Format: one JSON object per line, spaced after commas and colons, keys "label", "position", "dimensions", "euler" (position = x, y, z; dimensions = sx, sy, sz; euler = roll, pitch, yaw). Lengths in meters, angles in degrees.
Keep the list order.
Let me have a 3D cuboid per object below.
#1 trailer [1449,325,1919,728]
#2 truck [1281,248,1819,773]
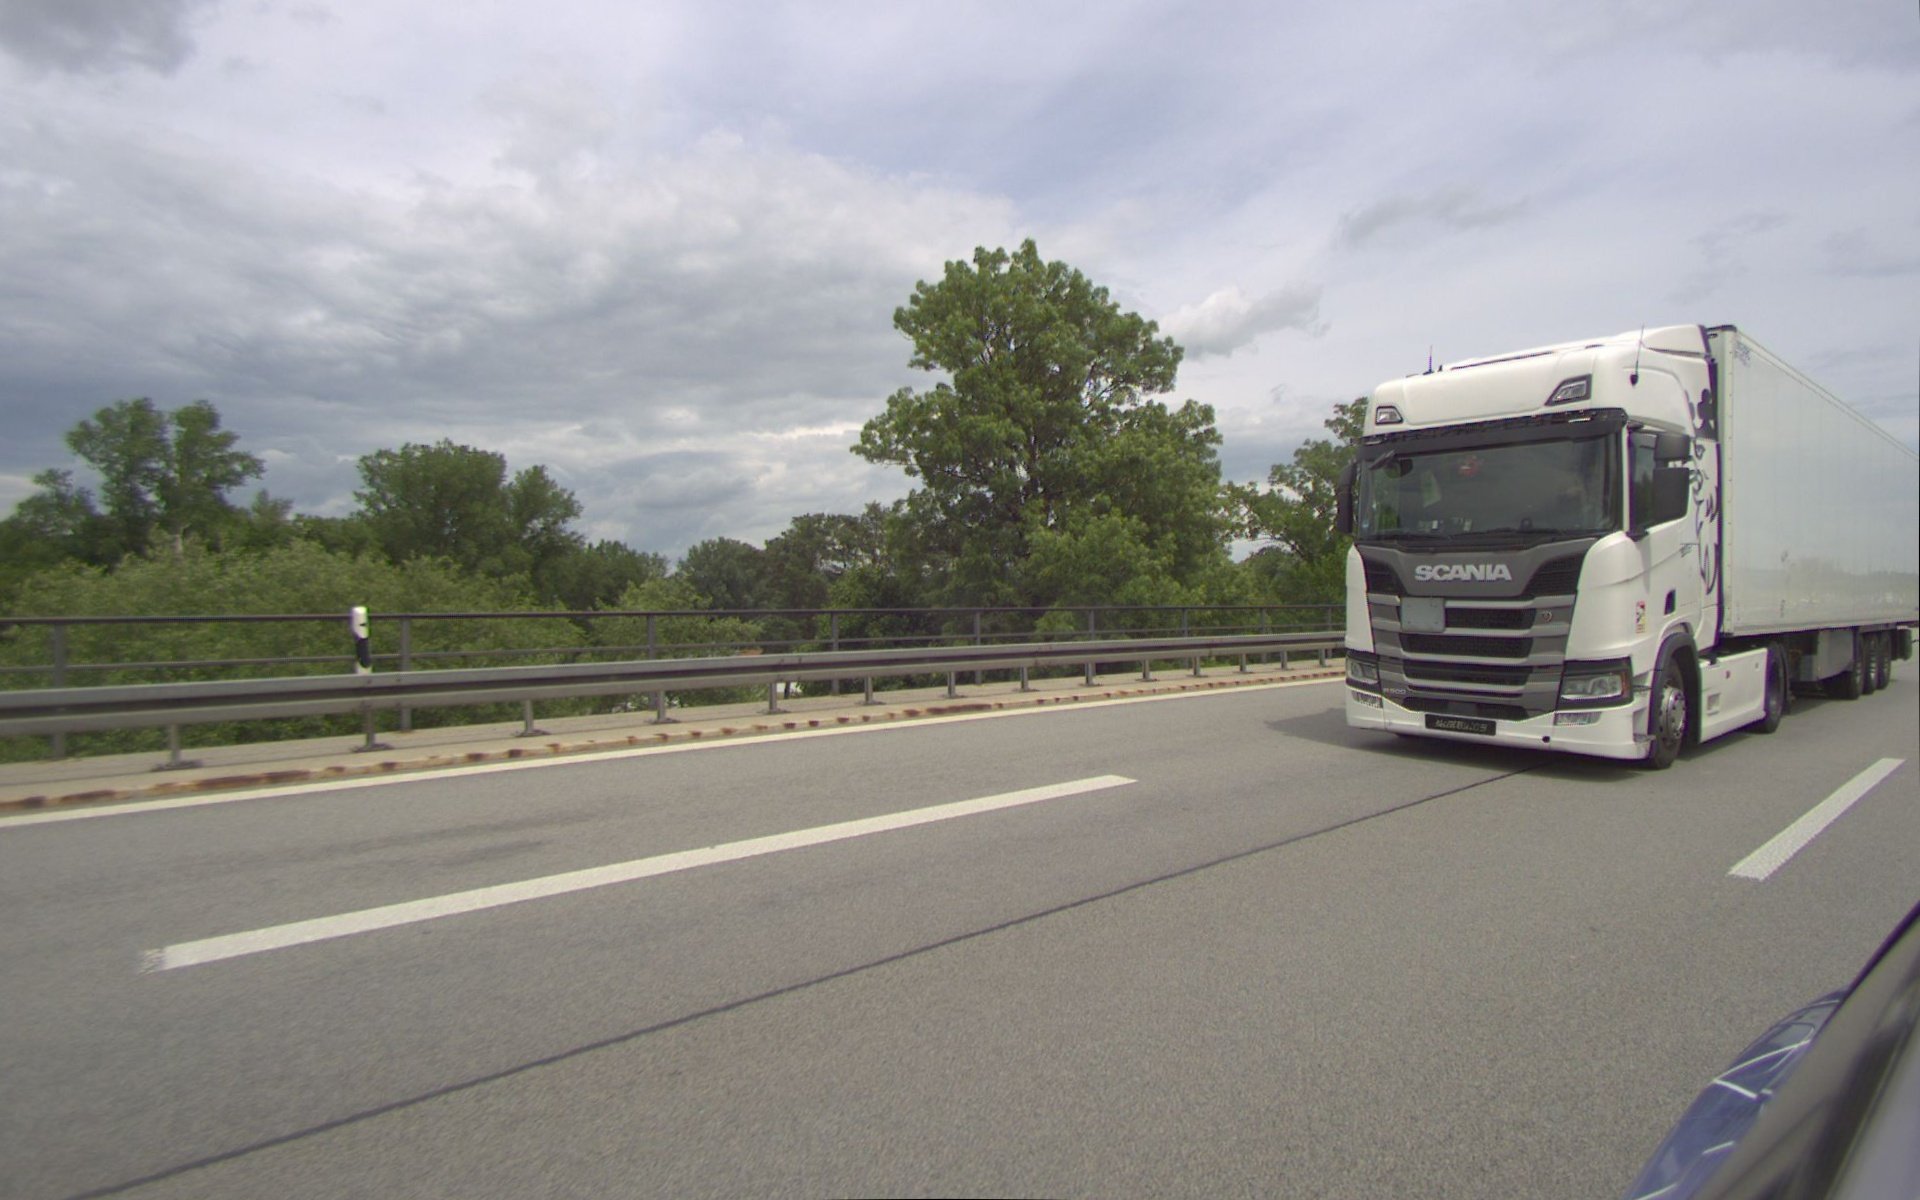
{"label": "trailer", "position": [12.114, -0.740, 15.408], "dimensions": [13.543, 3.940, 3.068], "euler": [0, 0, -40]}
{"label": "truck", "position": [6.395, -0.689, 10.665], "dimensions": [5.892, 3.941, 3.069], "euler": [0, 0, -39]}
